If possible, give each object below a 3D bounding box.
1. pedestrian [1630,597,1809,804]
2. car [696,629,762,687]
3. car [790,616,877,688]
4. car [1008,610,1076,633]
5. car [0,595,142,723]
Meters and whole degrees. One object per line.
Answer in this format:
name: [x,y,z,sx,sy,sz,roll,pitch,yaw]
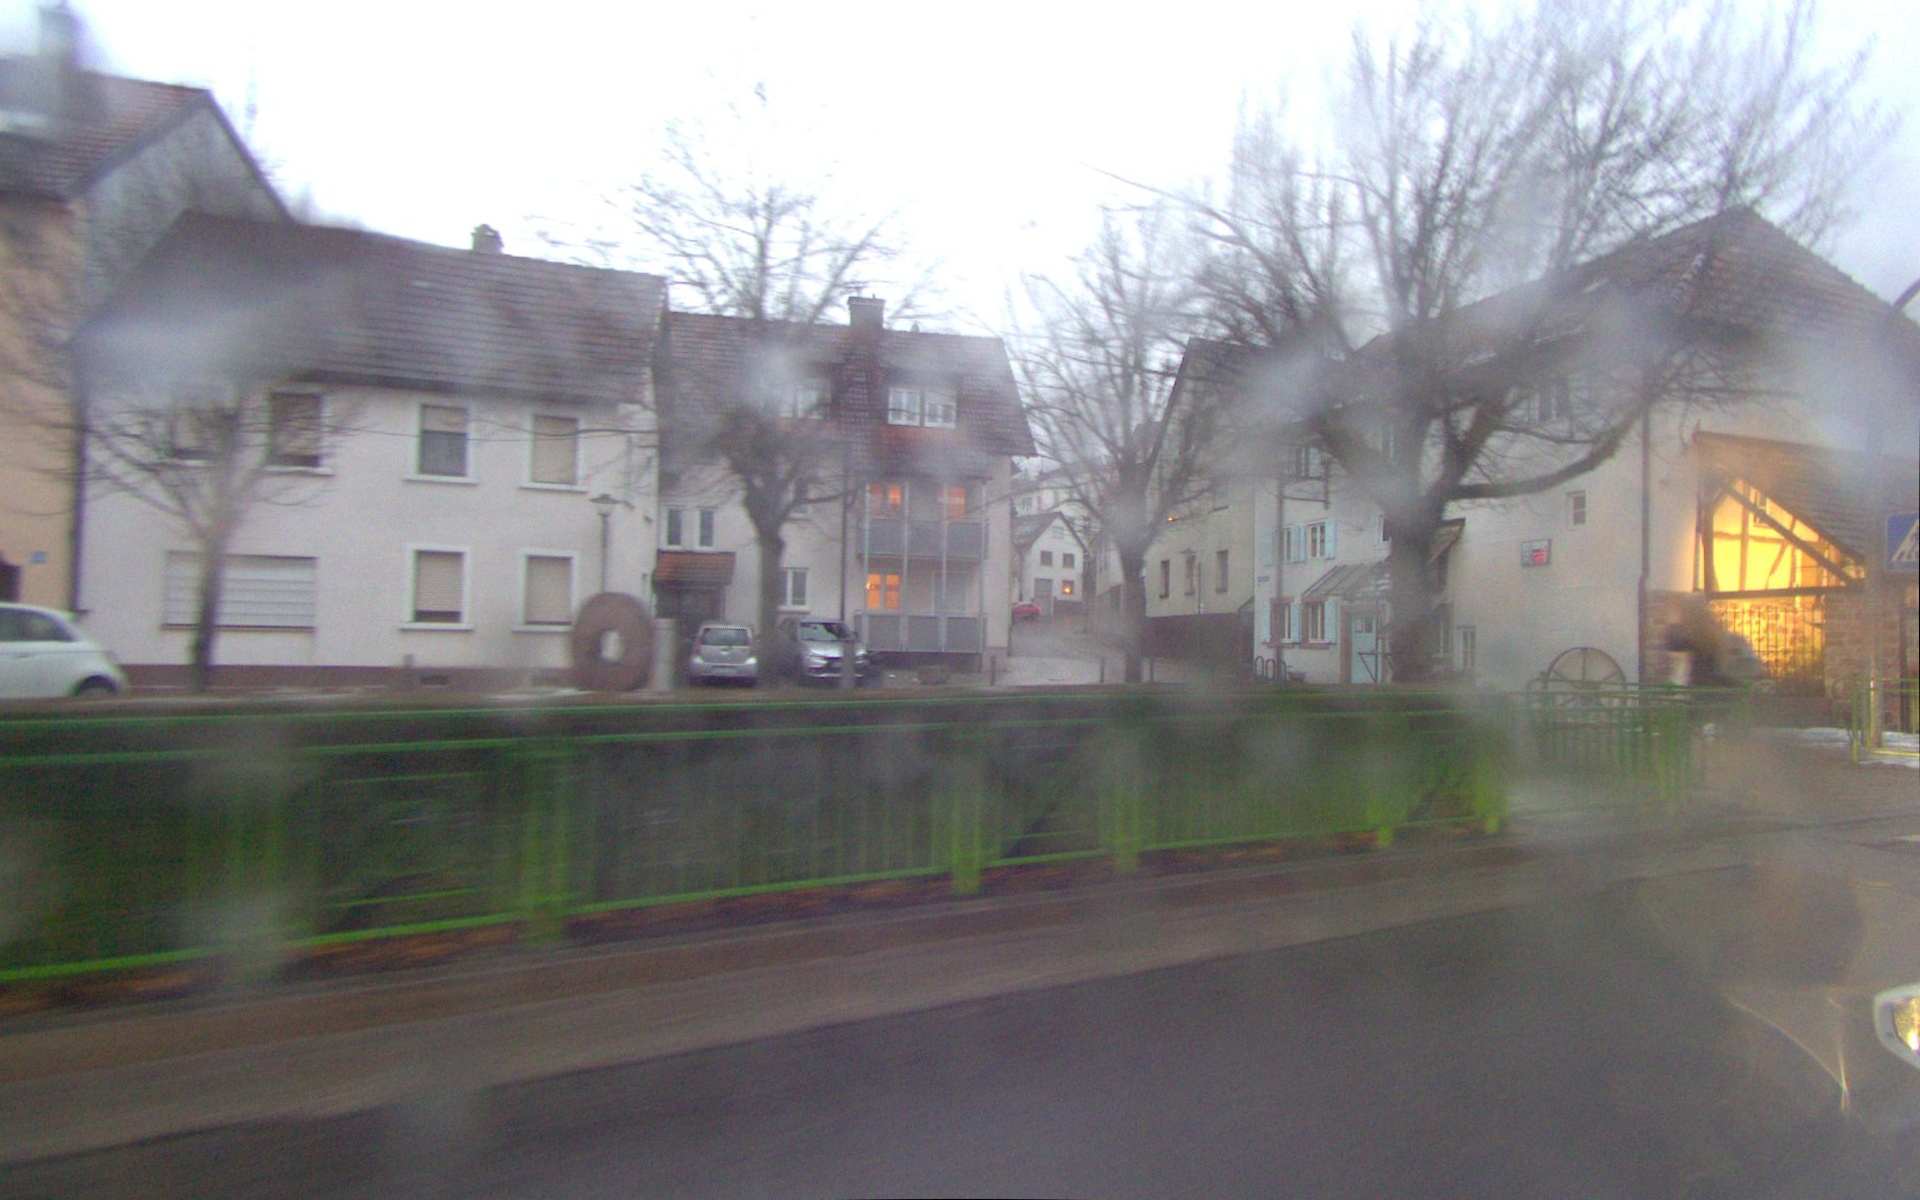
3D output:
pedestrian: [6.797,0.858,9.033,0.939,1.758,0.881,0,0,-11]
car: [-5.821,1.427,25.371,1.502,1.142,3.046,1,3,-13]
car: [-3.360,1.294,26.193,1.685,1.633,3.597,1,1,-16]
car: [3.899,1.000,47.787,2.980,1.012,1.424,1,1,-9]
car: [-11.473,0.639,11.181,1.577,1.428,3.488,1,-1,9]
